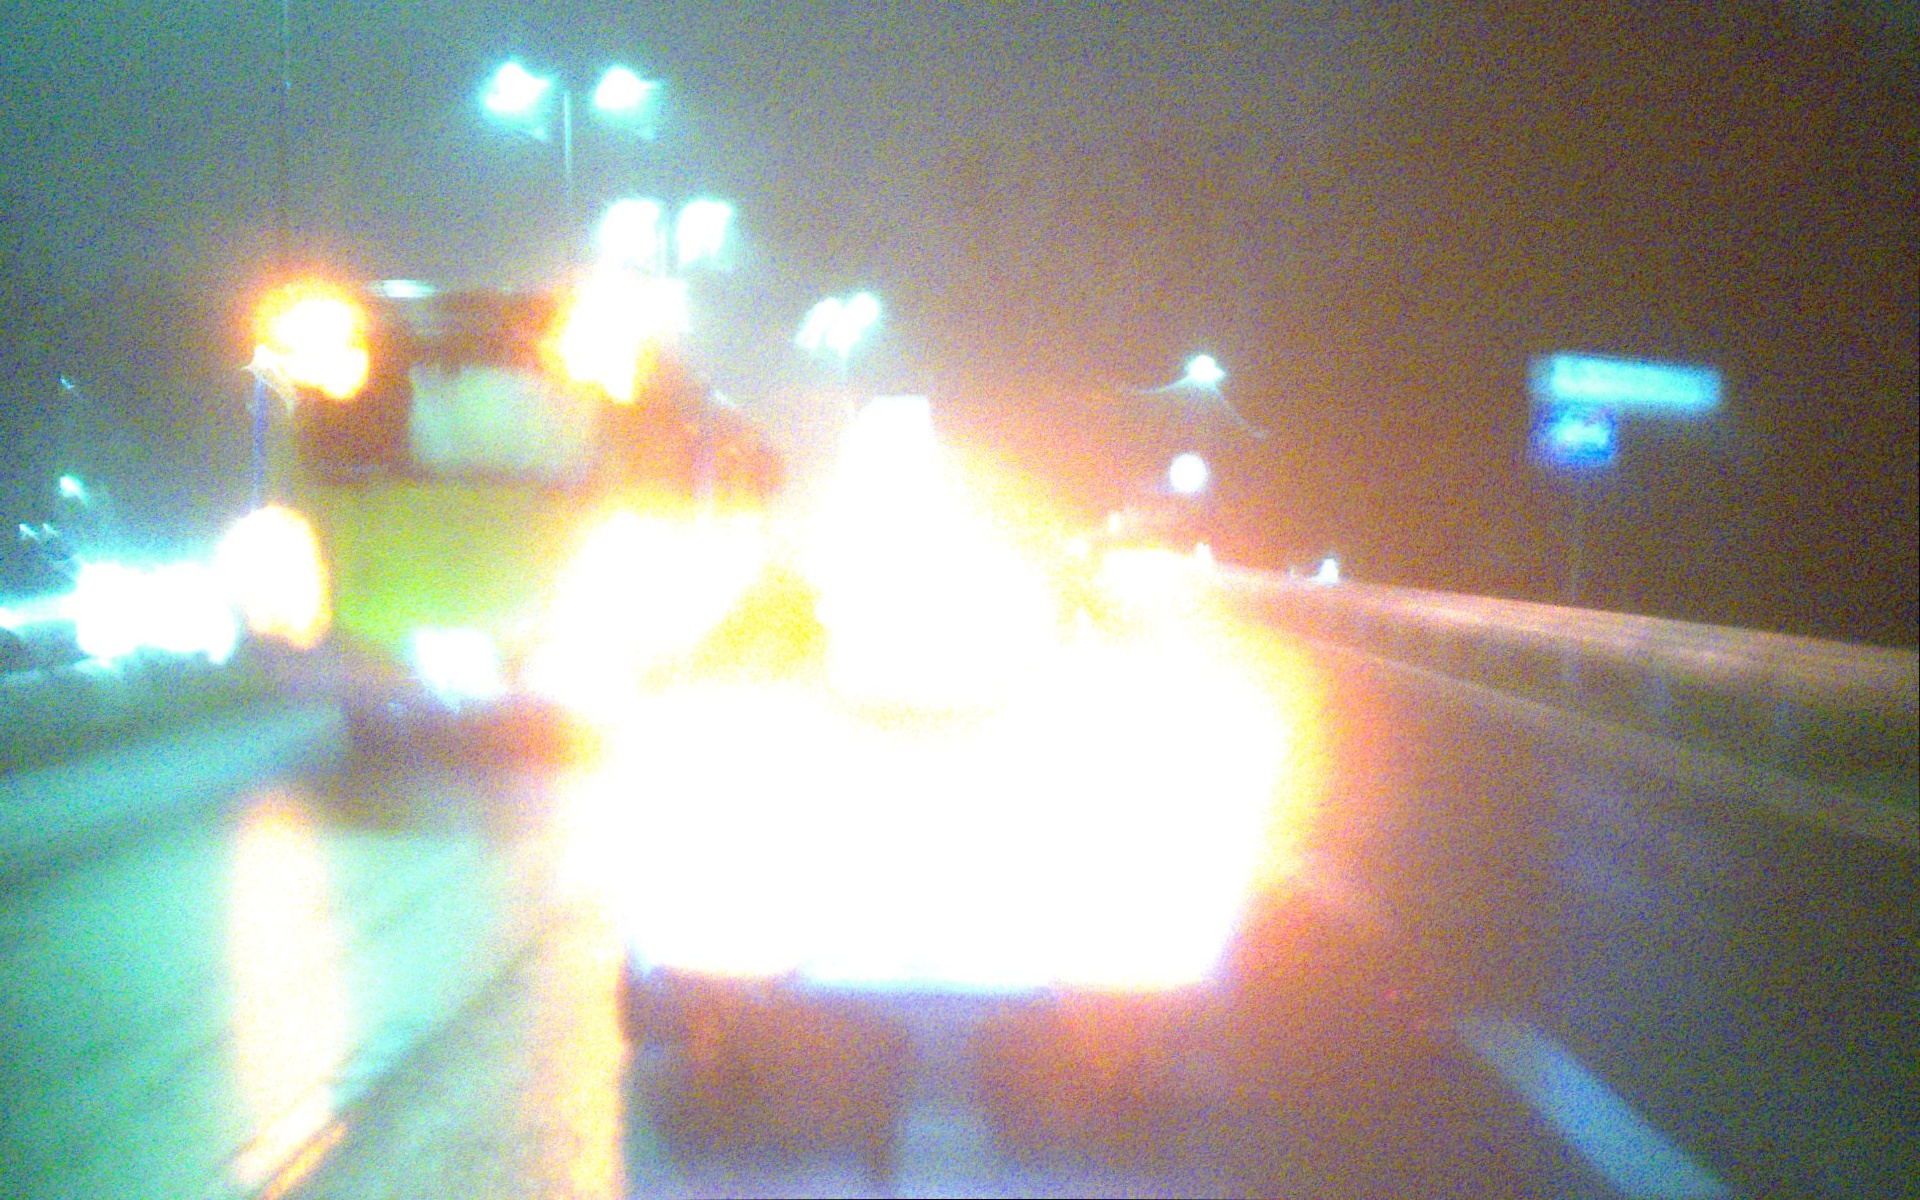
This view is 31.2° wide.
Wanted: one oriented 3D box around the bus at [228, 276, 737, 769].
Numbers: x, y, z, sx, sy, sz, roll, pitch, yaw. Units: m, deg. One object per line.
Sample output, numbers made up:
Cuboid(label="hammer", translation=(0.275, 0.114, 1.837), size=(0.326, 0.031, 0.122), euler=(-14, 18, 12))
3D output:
Cuboid(label="bus", translation=(-3.398, -0.608, 26.914), size=(2.743, 3.112, 9.202), euler=(2, 1, -1))

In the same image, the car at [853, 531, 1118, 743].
Cuboid(label="car", translation=(0.179, 0.235, 25.733), size=(1.822, 1.456, 3.716), euler=(1, 1, 0))

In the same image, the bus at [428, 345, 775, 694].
Cuboid(label="bus", translation=(-3.523, -0.836, 35.885), size=(2.743, 3.112, 8.704), euler=(2, 1, -1))

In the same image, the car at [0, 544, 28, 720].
Cuboid(label="car", translation=(-10.690, 0.288, 33.229), size=(2.165, 1.768, 4.705), euler=(2, 0, -2))

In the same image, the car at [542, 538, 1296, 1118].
Cuboid(label="car", translation=(-0.094, 0.570, 10.795), size=(1.944, 1.486, 3.716), euler=(1, 1, 0))

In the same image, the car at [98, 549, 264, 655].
Cuboid(label="car", translation=(-14.138, 0.047, 62.612), size=(1.993, 1.803, 4.200), euler=(2, 0, 0))

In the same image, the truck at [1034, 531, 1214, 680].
Cuboid(label="truck", translation=(3.106, 0.111, 63.637), size=(3.070, 2.520, 7.165), euler=(2, 0, 4))
